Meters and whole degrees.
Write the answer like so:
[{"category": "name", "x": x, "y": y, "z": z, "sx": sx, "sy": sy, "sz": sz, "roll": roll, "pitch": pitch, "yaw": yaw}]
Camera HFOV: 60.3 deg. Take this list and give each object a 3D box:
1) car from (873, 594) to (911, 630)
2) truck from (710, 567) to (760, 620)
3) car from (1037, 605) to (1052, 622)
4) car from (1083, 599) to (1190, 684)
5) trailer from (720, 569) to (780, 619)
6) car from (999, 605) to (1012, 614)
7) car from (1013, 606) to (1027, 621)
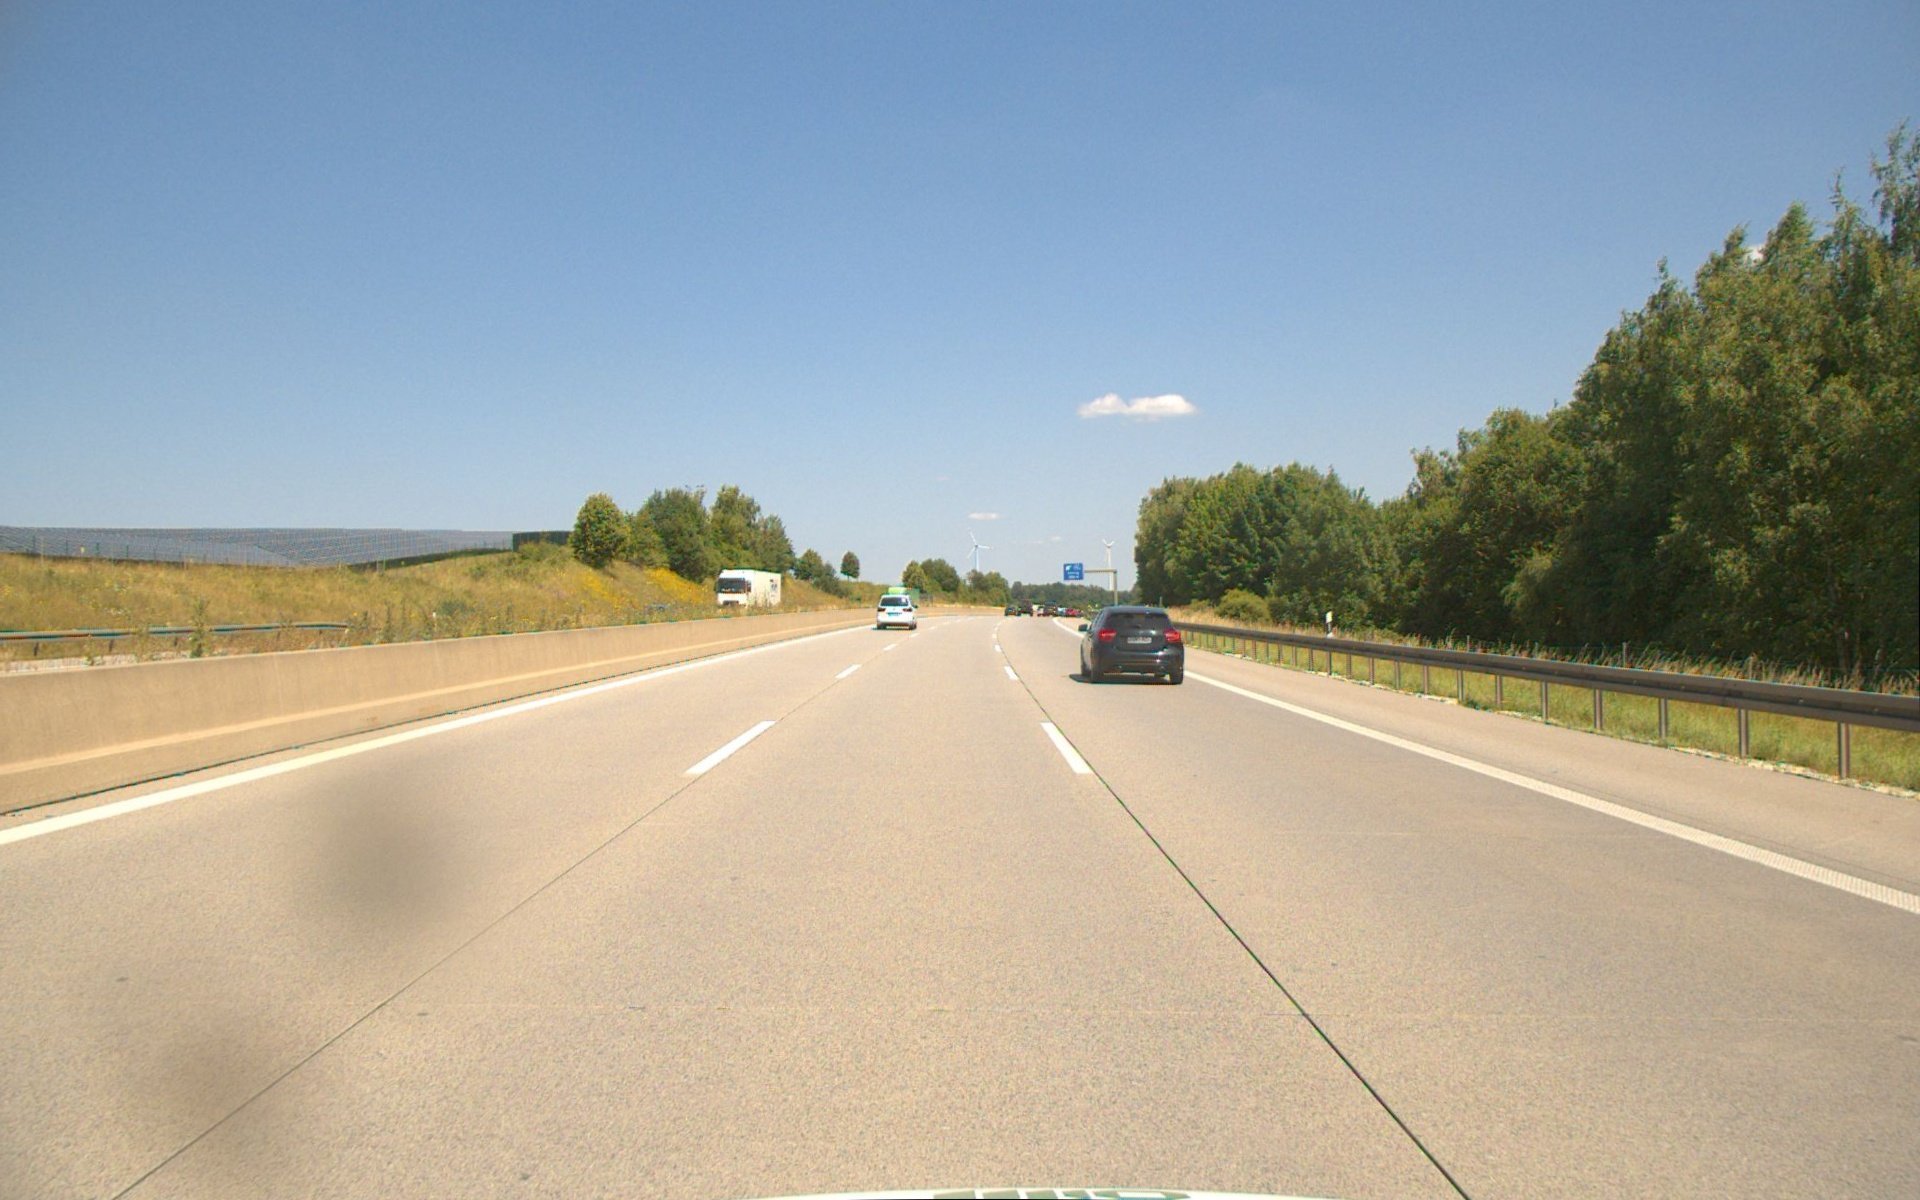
[{"category": "car", "x": -3.358, "y": 0.612, "z": 82.758, "sx": 1.808, "sy": 1.738, "sz": 6.034, "roll": 0, "pitch": 0, "yaw": -1}, {"category": "truck", "x": -18.194, "y": -0.506, "z": 134.362, "sx": 2.929, "sy": 4.131, "sz": 6.870, "roll": 0, "pitch": 0, "yaw": 2}, {"category": "car", "x": 10.203, "y": 1.623, "z": 199.827, "sx": 1.789, "sy": 1.940, "sz": 4.001, "roll": 0, "pitch": 0, "yaw": 3}, {"category": "car", "x": 3.411, "y": 0.762, "z": 32.613, "sx": 1.870, "sy": 1.518, "sz": 4.193, "roll": 1, "pitch": 0, "yaw": 3}, {"category": "trailer", "x": -17.948, "y": -0.503, "z": 142.127, "sx": 2.943, "sy": 4.131, "sz": 14.180, "roll": 0, "pitch": 0, "yaw": 2}, {"category": "car", "x": 6.798, "y": 1.368, "z": 248.447, "sx": 1.622, "sy": 1.217, "sz": 3.959, "roll": 3, "pitch": 0, "yaw": -1}, {"category": "car", "x": 7.810, "y": 1.719, "z": 215.131, "sx": 1.789, "sy": 1.971, "sz": 3.810, "roll": 0, "pitch": 0, "yaw": 1}]
